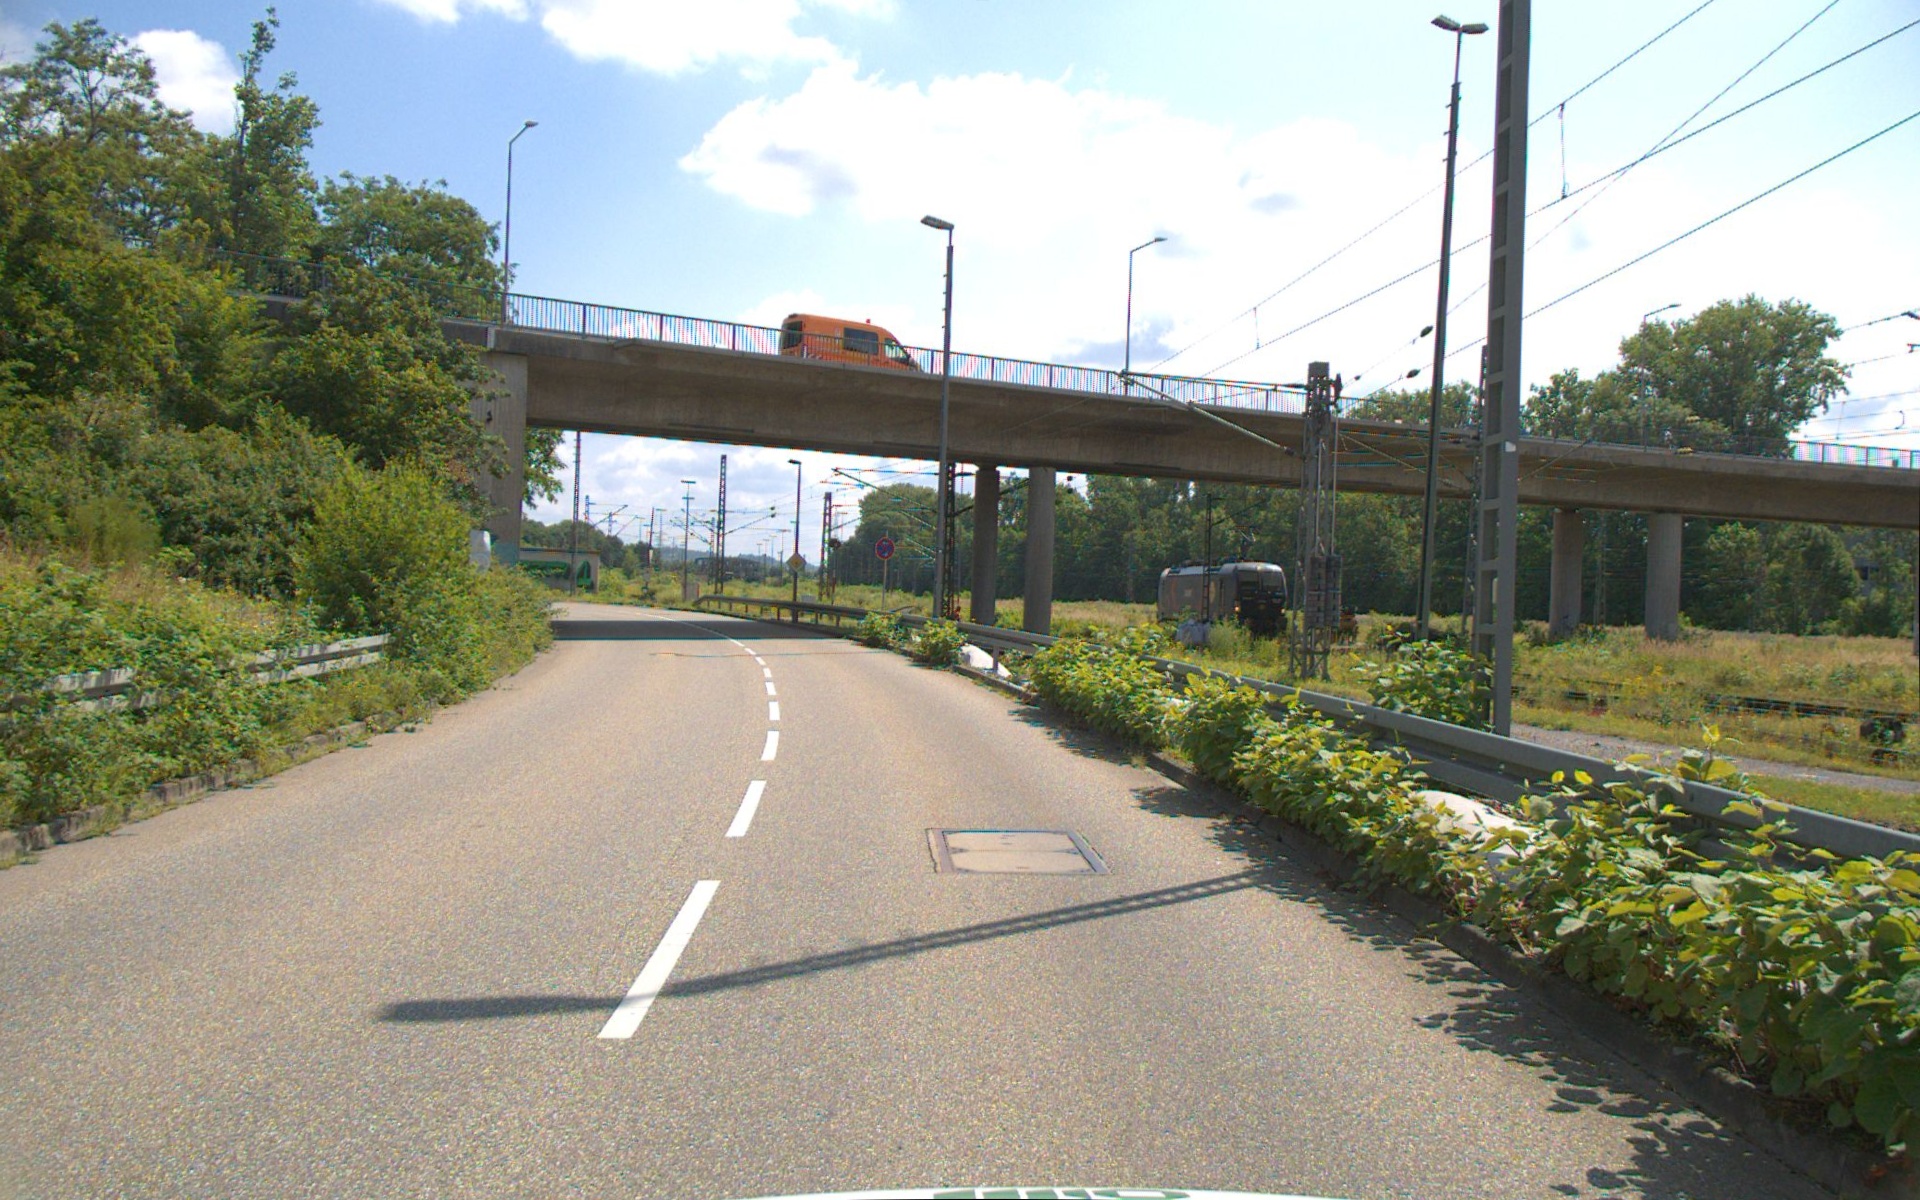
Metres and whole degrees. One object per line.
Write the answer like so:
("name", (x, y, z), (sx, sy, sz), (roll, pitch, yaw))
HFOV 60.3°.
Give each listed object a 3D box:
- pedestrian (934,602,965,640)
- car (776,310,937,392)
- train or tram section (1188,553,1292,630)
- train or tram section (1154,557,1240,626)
("pedestrian", (-0.458, 0.904, 71.125), (1.089, 1.567, 1.576), (2, -1, -9))
("car", (-3.517, -8.443, 56.503), (5.274, 2.049, 1.975), (0, -1, -35))
("train or tram section", (13.865, -0.391, 82.679), (2.835, 3.570, 8.554), (2, 0, -6))
("train or tram section", (12.957, -0.408, 91.028), (2.703, 3.538, 8.228), (2, 0, -6))
